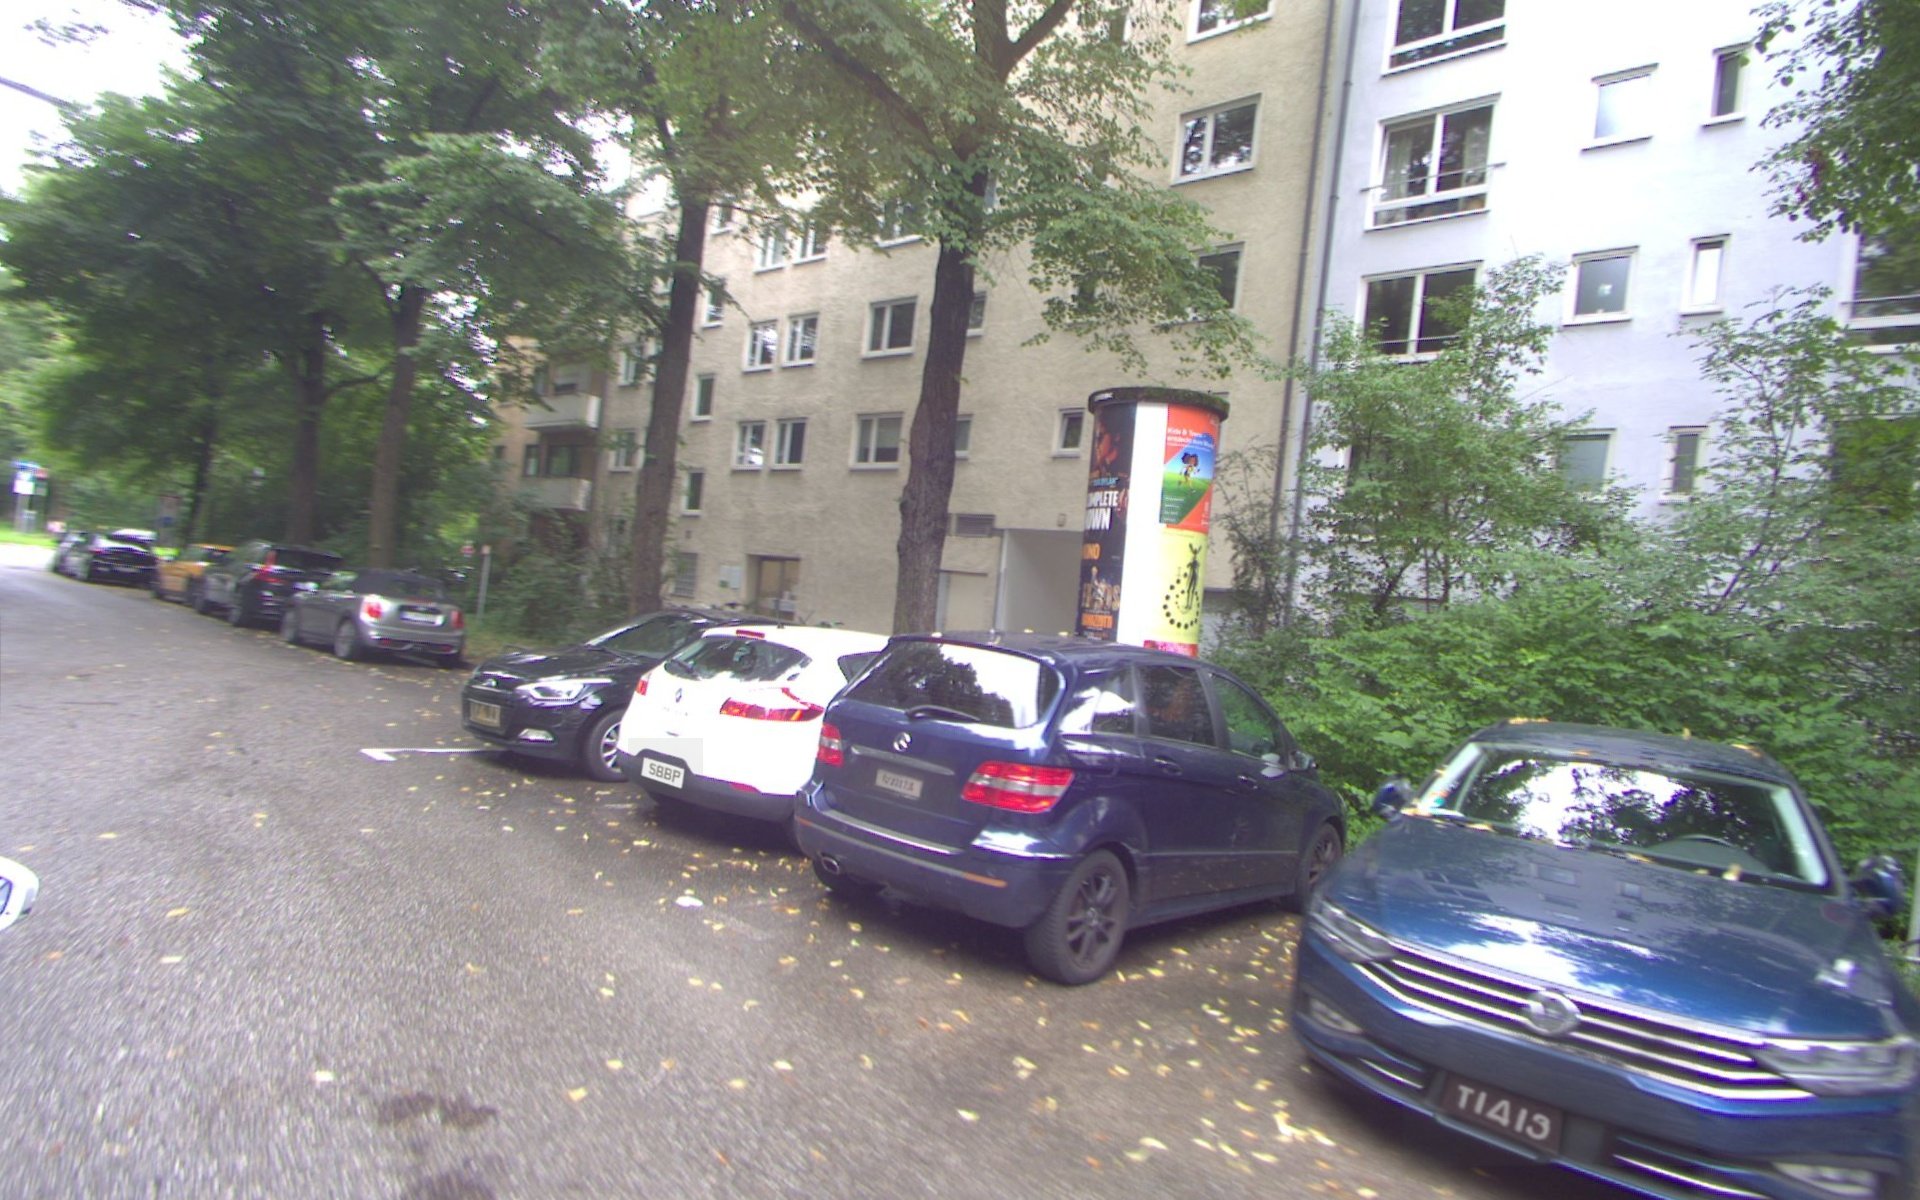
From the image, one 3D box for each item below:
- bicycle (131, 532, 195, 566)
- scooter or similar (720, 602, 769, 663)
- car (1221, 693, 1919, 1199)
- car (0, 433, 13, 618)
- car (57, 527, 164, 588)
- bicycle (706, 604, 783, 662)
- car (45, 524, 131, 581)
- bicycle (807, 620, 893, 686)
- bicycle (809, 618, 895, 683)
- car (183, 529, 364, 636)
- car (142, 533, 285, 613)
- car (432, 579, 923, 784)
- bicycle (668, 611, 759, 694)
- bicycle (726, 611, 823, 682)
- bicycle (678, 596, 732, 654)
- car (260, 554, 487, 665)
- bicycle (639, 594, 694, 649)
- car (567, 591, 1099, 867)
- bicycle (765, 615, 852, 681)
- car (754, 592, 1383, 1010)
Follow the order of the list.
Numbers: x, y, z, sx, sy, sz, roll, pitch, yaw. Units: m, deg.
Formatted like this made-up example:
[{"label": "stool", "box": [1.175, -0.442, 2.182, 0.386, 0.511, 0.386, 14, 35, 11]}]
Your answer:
[{"label": "bicycle", "box": [-28.703, -1.835, 36.247, 1.744, 0.994, 0.270, 7, 0, -40]}, {"label": "scooter or similar", "box": [-4.980, 0.747, 23.181, 1.121, 1.268, 0.383, 6, 0, 41]}, {"label": "car", "box": [3.117, 1.285, 4.719, 1.930, 1.394, 4.718, 6, -1, 37]}, {"label": "car", "box": [-14.780, -1.153, 11.442, 5.405, 2.384, 2.061, 4, 0, -14]}, {"label": "car", "box": [-24.879, -1.266, 29.431, 3.952, 1.374, 1.680, 6, -2, 41]}, {"label": "bicycle", "box": [-4.651, 0.741, 21.849, 0.438, 1.137, 1.947, 6, -1, 25]}, {"label": "car", "box": [-27.981, -1.546, 32.247, 3.595, 1.492, 1.644, 5, -1, 44]}, {"label": "bicycle", "box": [-2.056, 1.031, 19.068, 0.531, 1.137, 1.875, 6, -1, 29]}, {"label": "bicycle", "box": [-2.241, 1.040, 20.801, 1.742, 1.137, 0.445, 6, 0, 31]}, {"label": "car", "box": [-13.699, -0.392, 19.975, 4.463, 1.648, 1.829, 6, -1, 42]}, {"label": "car", "box": [-17.343, -0.650, 23.328, 3.723, 1.429, 1.618, 6, -1, 38]}, {"label": "car", "box": [-2.434, 0.772, 9.465, 1.711, 1.411, 4.076, 6, -1, 42]}, {"label": "bicycle", "box": [-3.904, 0.815, 16.069, 0.752, 1.178, 1.871, 6, -1, 4]}, {"label": "bicycle", "box": [-3.288, 0.858, 18.032, 0.531, 1.137, 1.875, 6, -1, 29]}, {"label": "bicycle", "box": [-5.454, 0.545, 21.585, 0.437, 1.137, 1.773, 6, -1, 5]}, {"label": "car", "box": [-9.867, 0.125, 16.786, 4.367, 1.430, 1.896, 5, 0, 41]}, {"label": "bicycle", "box": [-6.484, 0.488, 22.288, 0.437, 1.137, 1.773, 6, -1, 5]}, {"label": "car", "box": [-0.726, 0.898, 7.879, 1.799, 1.465, 3.935, 6, -1, 37]}, {"label": "bicycle", "box": [-3.091, 0.969, 20.441, 1.742, 1.137, 0.445, 6, 0, 31]}, {"label": "car", "box": [0.948, 0.984, 6.116, 1.732, 1.574, 3.966, 6, -1, 41]}]
